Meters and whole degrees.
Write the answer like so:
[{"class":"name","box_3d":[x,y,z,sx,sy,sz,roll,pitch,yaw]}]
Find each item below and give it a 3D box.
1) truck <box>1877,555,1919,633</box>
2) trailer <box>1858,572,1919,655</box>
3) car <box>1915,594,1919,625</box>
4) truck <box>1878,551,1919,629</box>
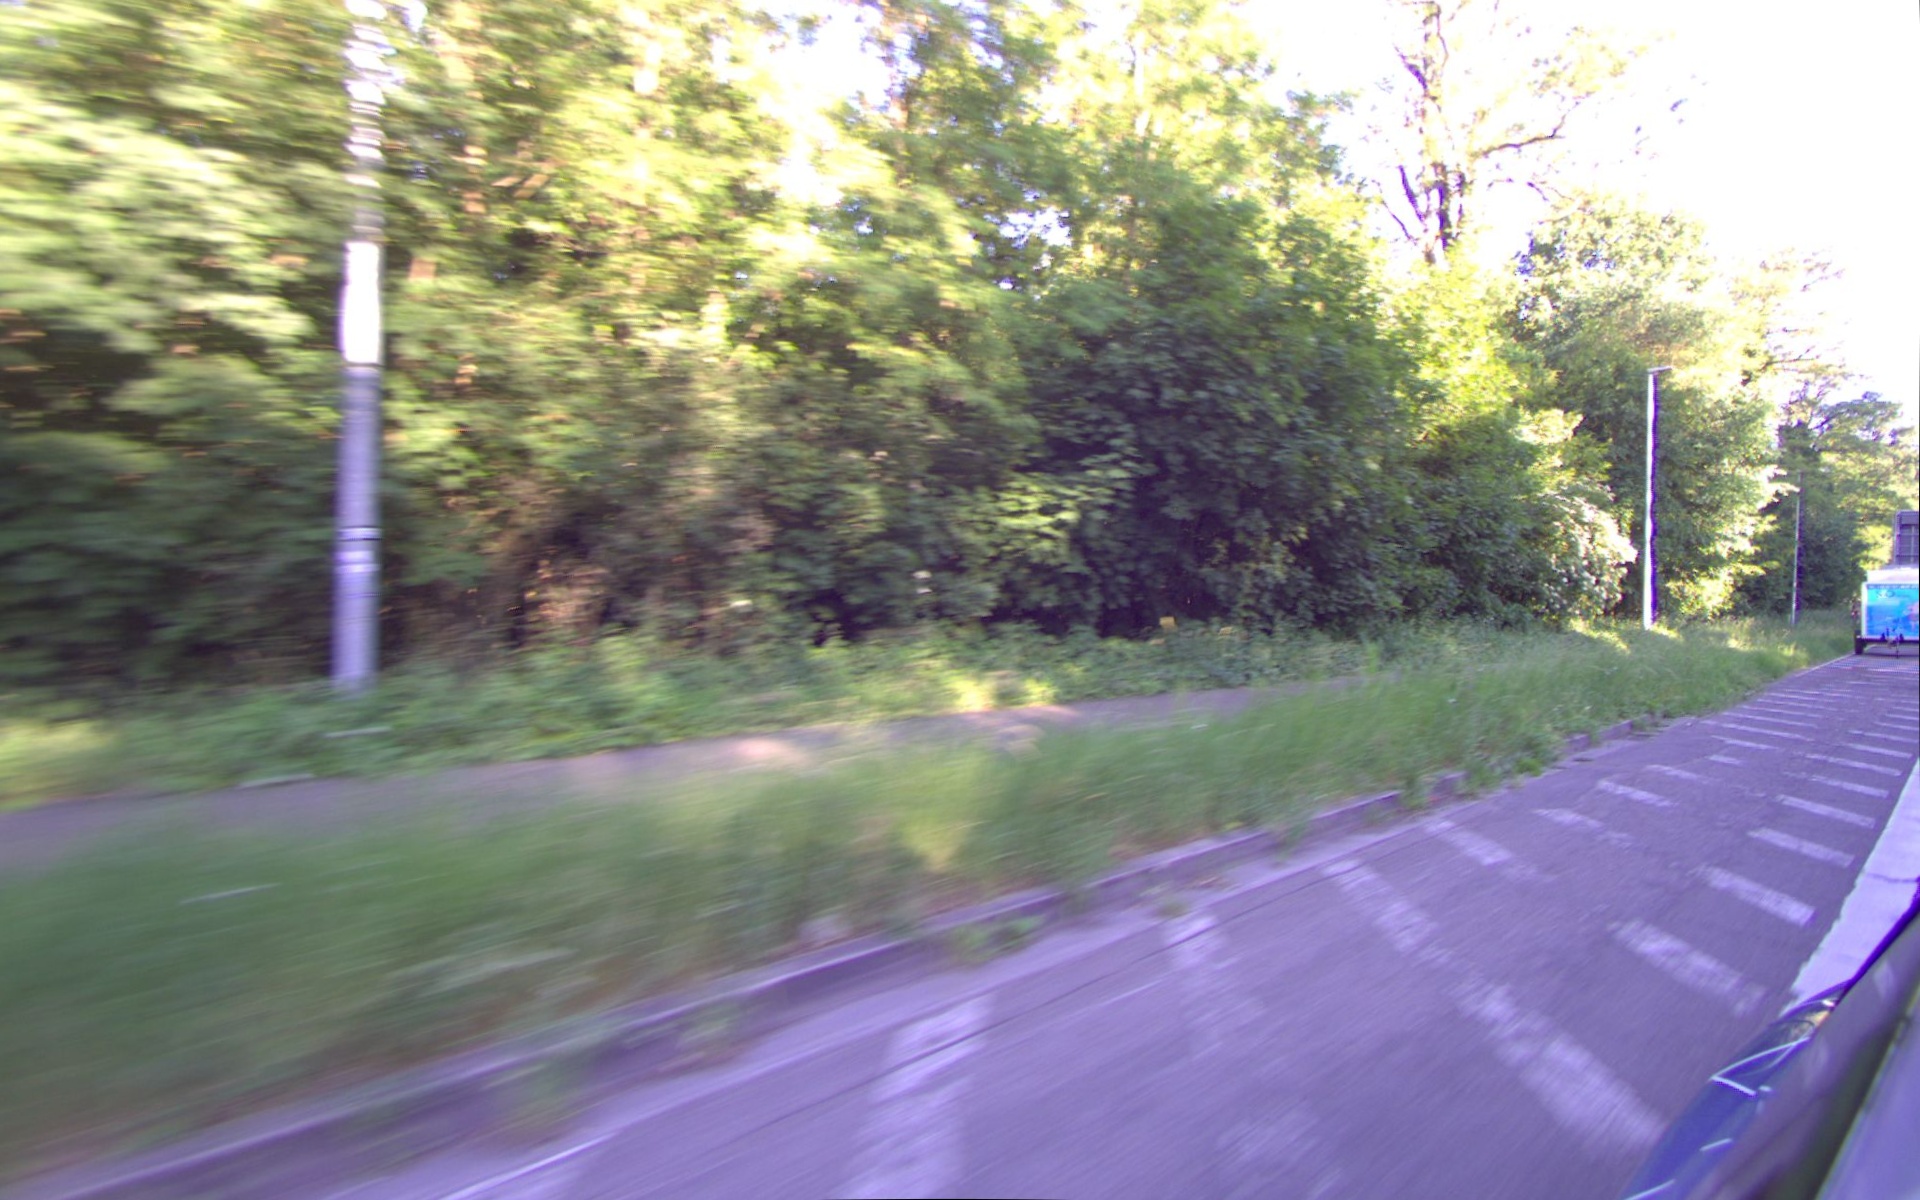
[{"class":"truck","box_3d":[37.945,-0.277,39.834,5.508,2.908,2.384,-1,-1,-45]},{"class":"trailer","box_3d":[26.956,0.332,28.767,4.062,2.205,1.865,-1,0,-45]},{"class":"car","box_3d":[48.373,0.493,49.852,3.849,1.482,1.803,-1,3,-45]},{"class":"truck","box_3d":[43.341,-0.478,45.423,7.013,3.277,2.701,-1,3,-45]}]
